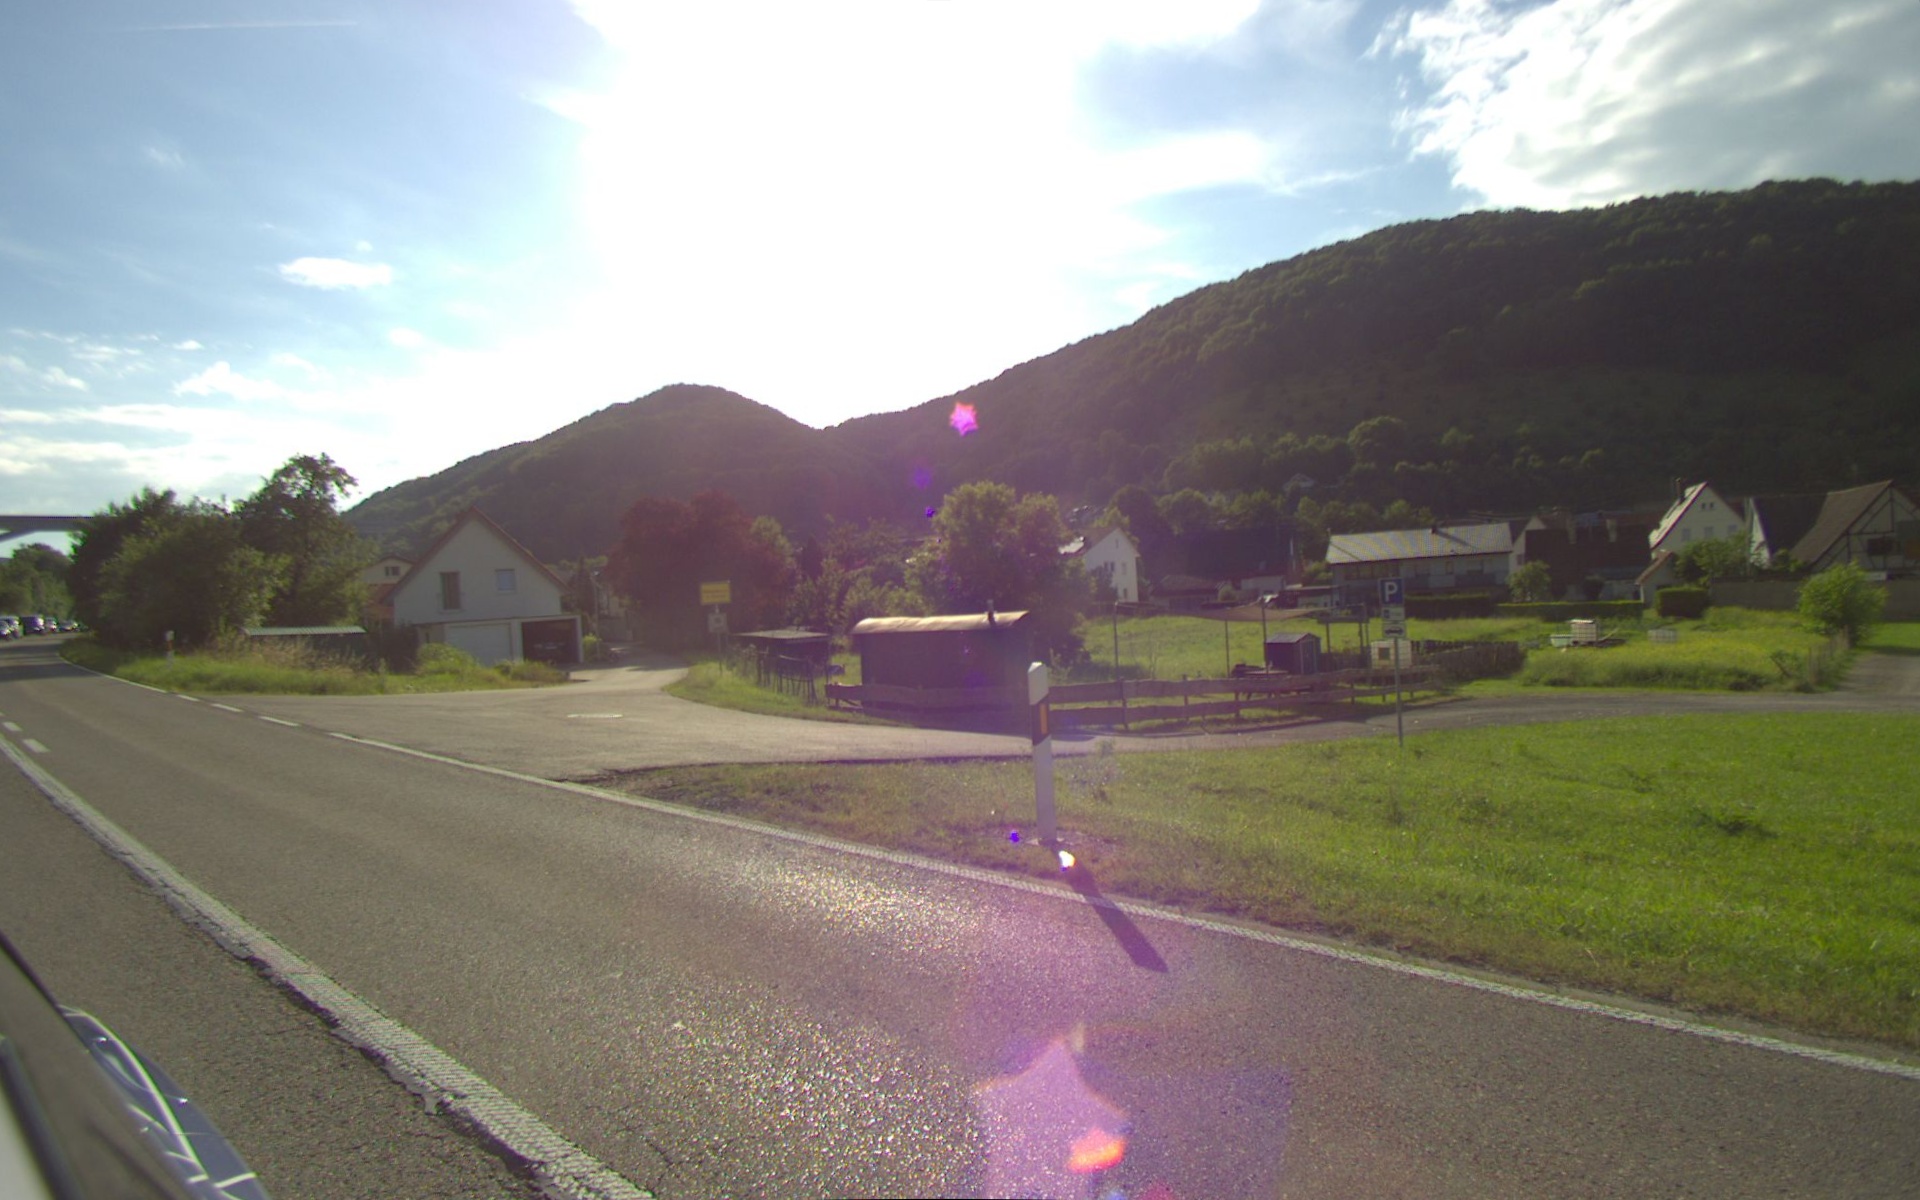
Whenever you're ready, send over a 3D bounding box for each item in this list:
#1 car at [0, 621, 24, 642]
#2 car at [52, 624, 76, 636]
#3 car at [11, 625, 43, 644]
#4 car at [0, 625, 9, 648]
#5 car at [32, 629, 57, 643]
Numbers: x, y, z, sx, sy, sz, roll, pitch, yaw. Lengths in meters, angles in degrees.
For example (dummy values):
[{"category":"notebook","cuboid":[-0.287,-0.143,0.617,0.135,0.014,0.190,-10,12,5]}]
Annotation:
[{"category":"car","cuboid":[-75.281,2.464,79.828,1.790,1.630,4.008,1,-2,-38]},{"category":"car","cuboid":[-114.065,3.807,128.822,1.812,1.564,4.188,1,-1,-35]},{"category":"car","cuboid":[-83.495,3.052,90.603,1.791,1.630,4.007,1,-2,-39]},{"category":"car","cuboid":[-68.294,2.575,71.176,1.814,1.564,4.183,2,-3,-41]},{"category":"car","cuboid":[-102.718,4.037,113.563,1.813,1.564,4.185,1,-2,-39]}]
